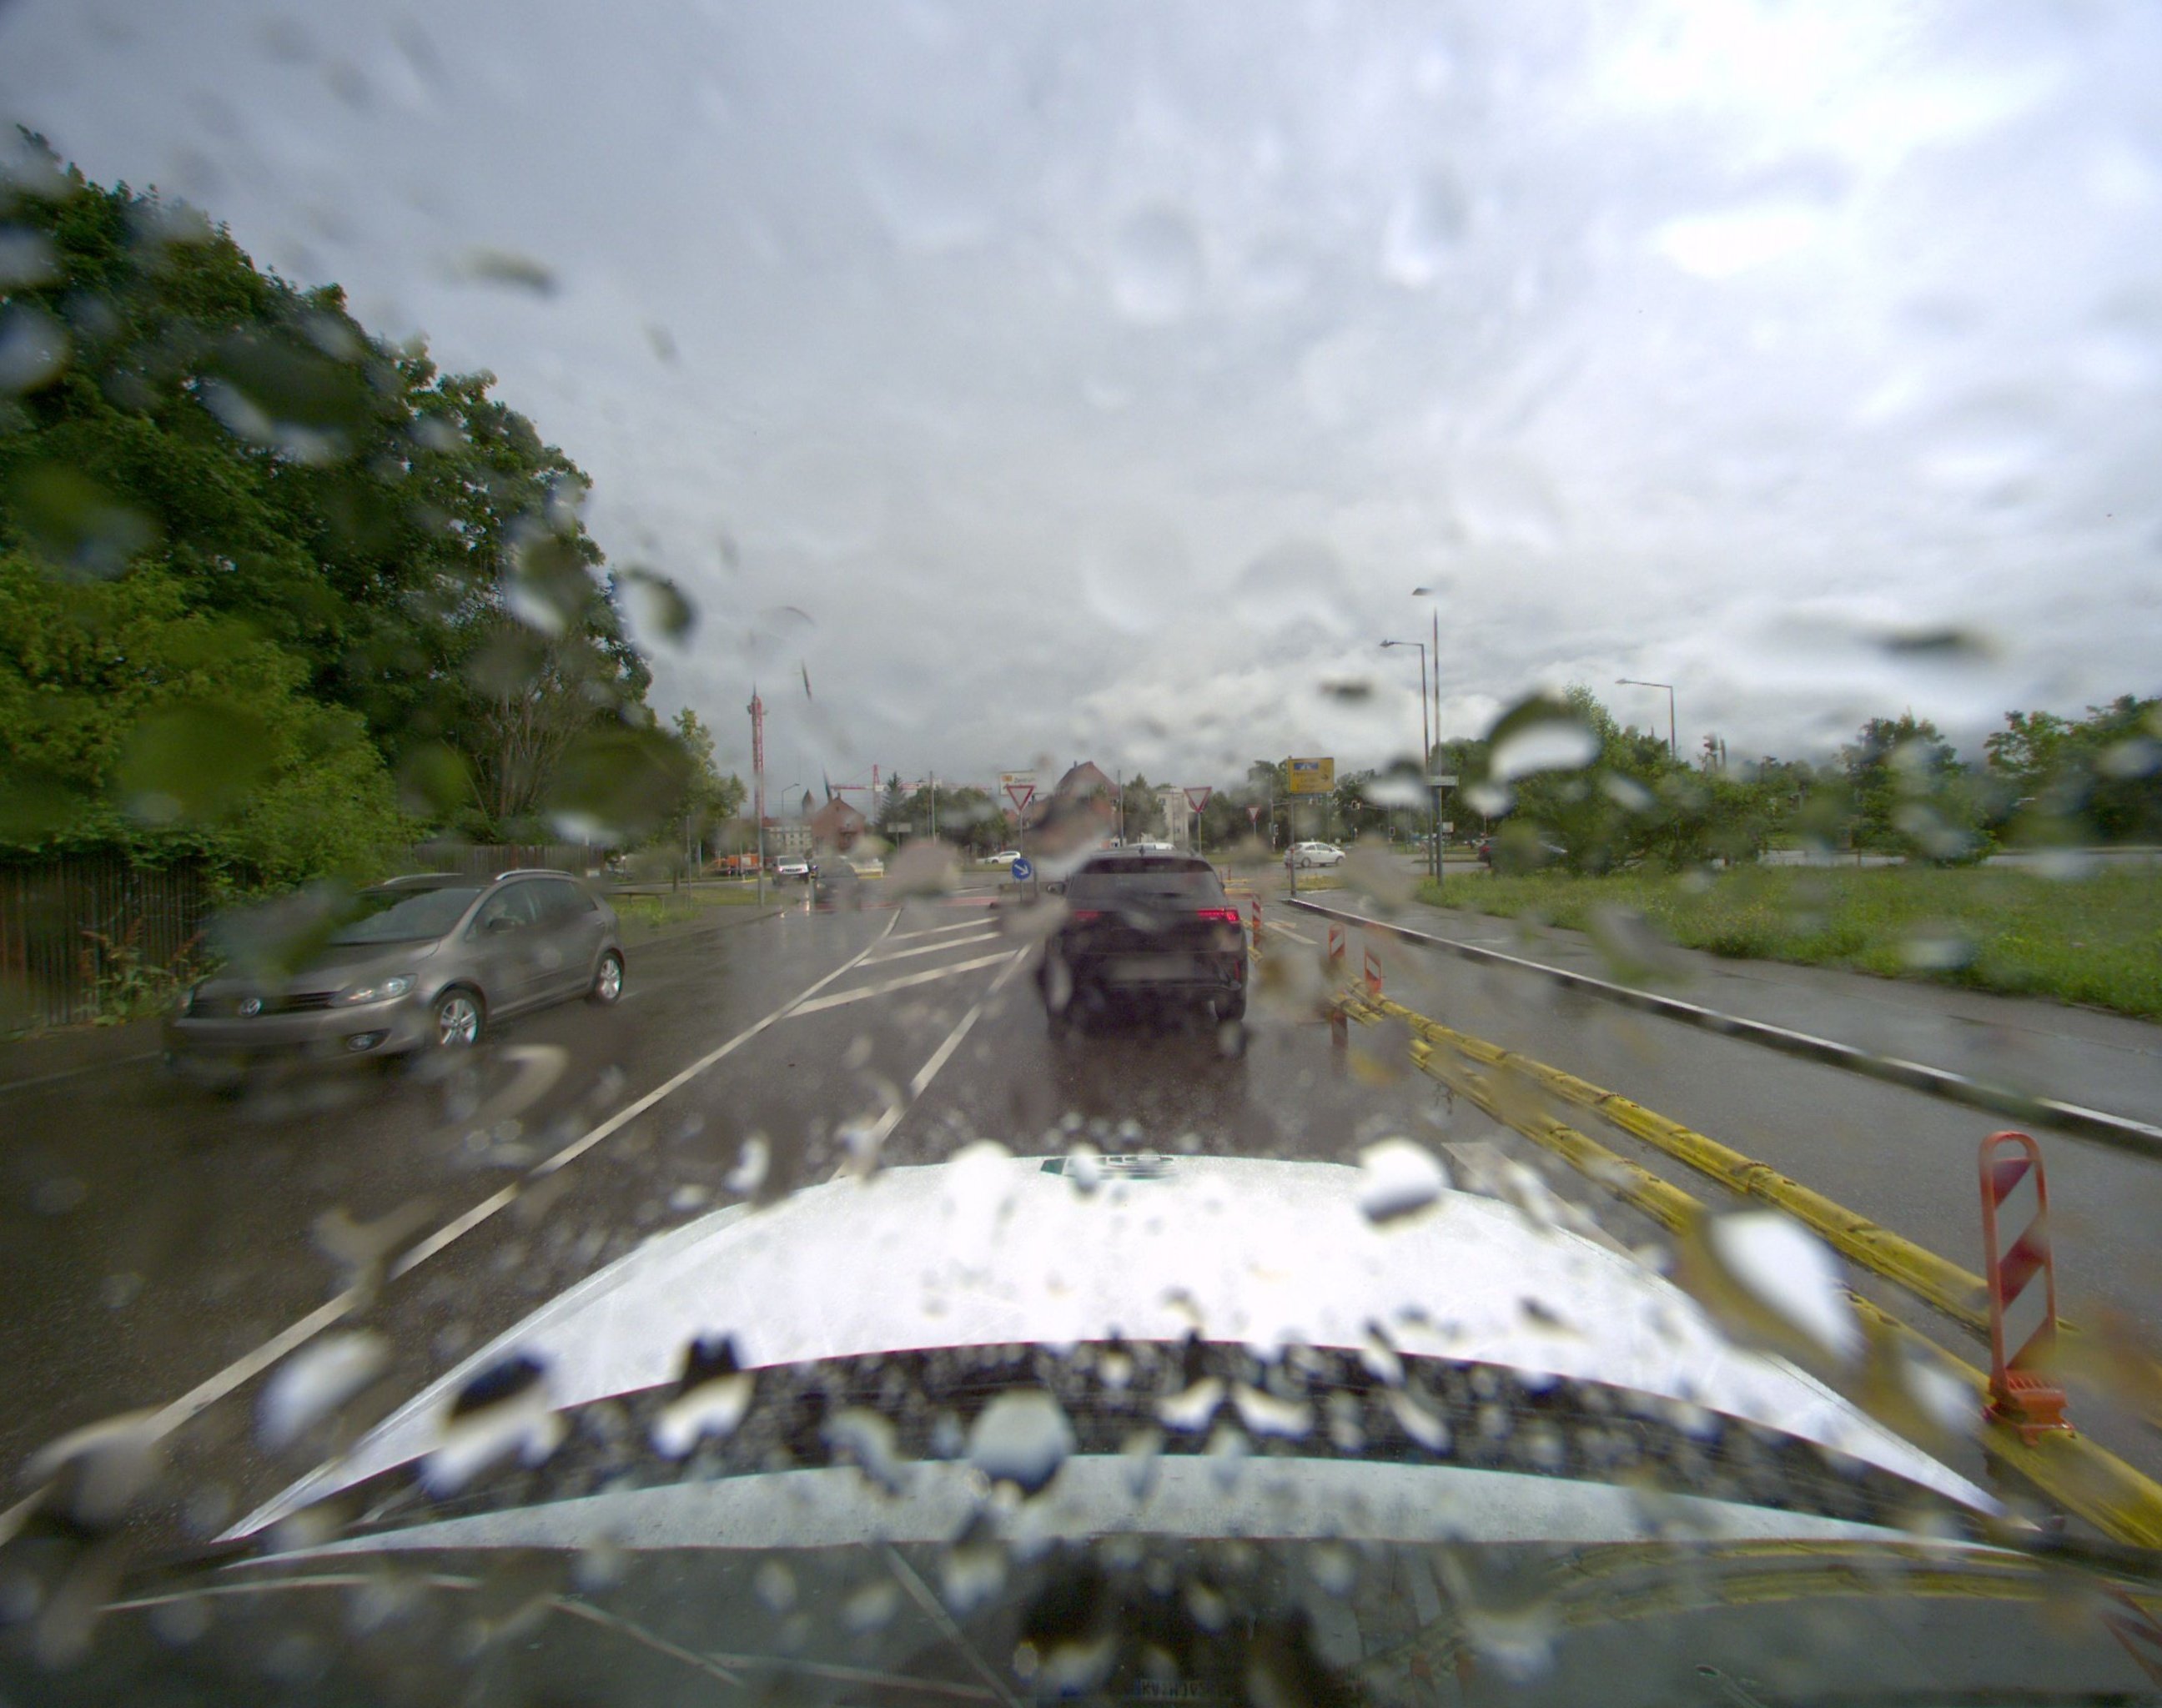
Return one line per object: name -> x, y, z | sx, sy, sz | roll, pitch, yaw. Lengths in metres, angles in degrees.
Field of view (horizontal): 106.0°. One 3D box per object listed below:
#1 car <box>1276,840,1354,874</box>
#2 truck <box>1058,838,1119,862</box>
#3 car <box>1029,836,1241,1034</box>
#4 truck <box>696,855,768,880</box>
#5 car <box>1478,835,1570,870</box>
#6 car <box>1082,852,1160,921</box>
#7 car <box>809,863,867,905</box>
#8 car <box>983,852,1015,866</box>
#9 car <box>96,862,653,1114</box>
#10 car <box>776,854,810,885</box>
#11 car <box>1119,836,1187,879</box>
car -> 13.902, 0.176, 48.412 | 4.002, 1.830, 1.986 | -2, 0, -21
truck -> 0.917, -0.442, 97.912 | 7.061, 2.650, 2.324 | -2, 0, -8
car -> 0.417, 0.660, 8.466 | 1.703, 1.574, 3.681 | -1, 0, -1
truck -> -37.562, 1.447, 87.783 | 6.705, 2.442, 2.425 | -2, 0, -11
car -> 22.466, -0.058, 41.457 | 3.908, 1.644, 1.679 | -1, 0, 20
car -> 0.907, 0.728, 20.288 | 1.730, 1.514, 3.603 | -2, 0, 0
car -> -9.784, 1.176, 33.104 | 1.876, 1.482, 4.160 | -2, -1, -12
car -> -9.973, 0.625, 98.963 | 3.509, 1.584, 1.556 | -2, 0, -22
car -> -6.065, 0.945, 7.905 | 1.779, 1.552, 4.416 | -5, 0, -6
car -> -18.877, 1.002, 53.564 | 1.893, 1.876, 5.101 | -2, 0, -18
car -> 3.363, 0.116, 37.038 | 1.848, 1.809, 4.427 | -1, 0, 22
